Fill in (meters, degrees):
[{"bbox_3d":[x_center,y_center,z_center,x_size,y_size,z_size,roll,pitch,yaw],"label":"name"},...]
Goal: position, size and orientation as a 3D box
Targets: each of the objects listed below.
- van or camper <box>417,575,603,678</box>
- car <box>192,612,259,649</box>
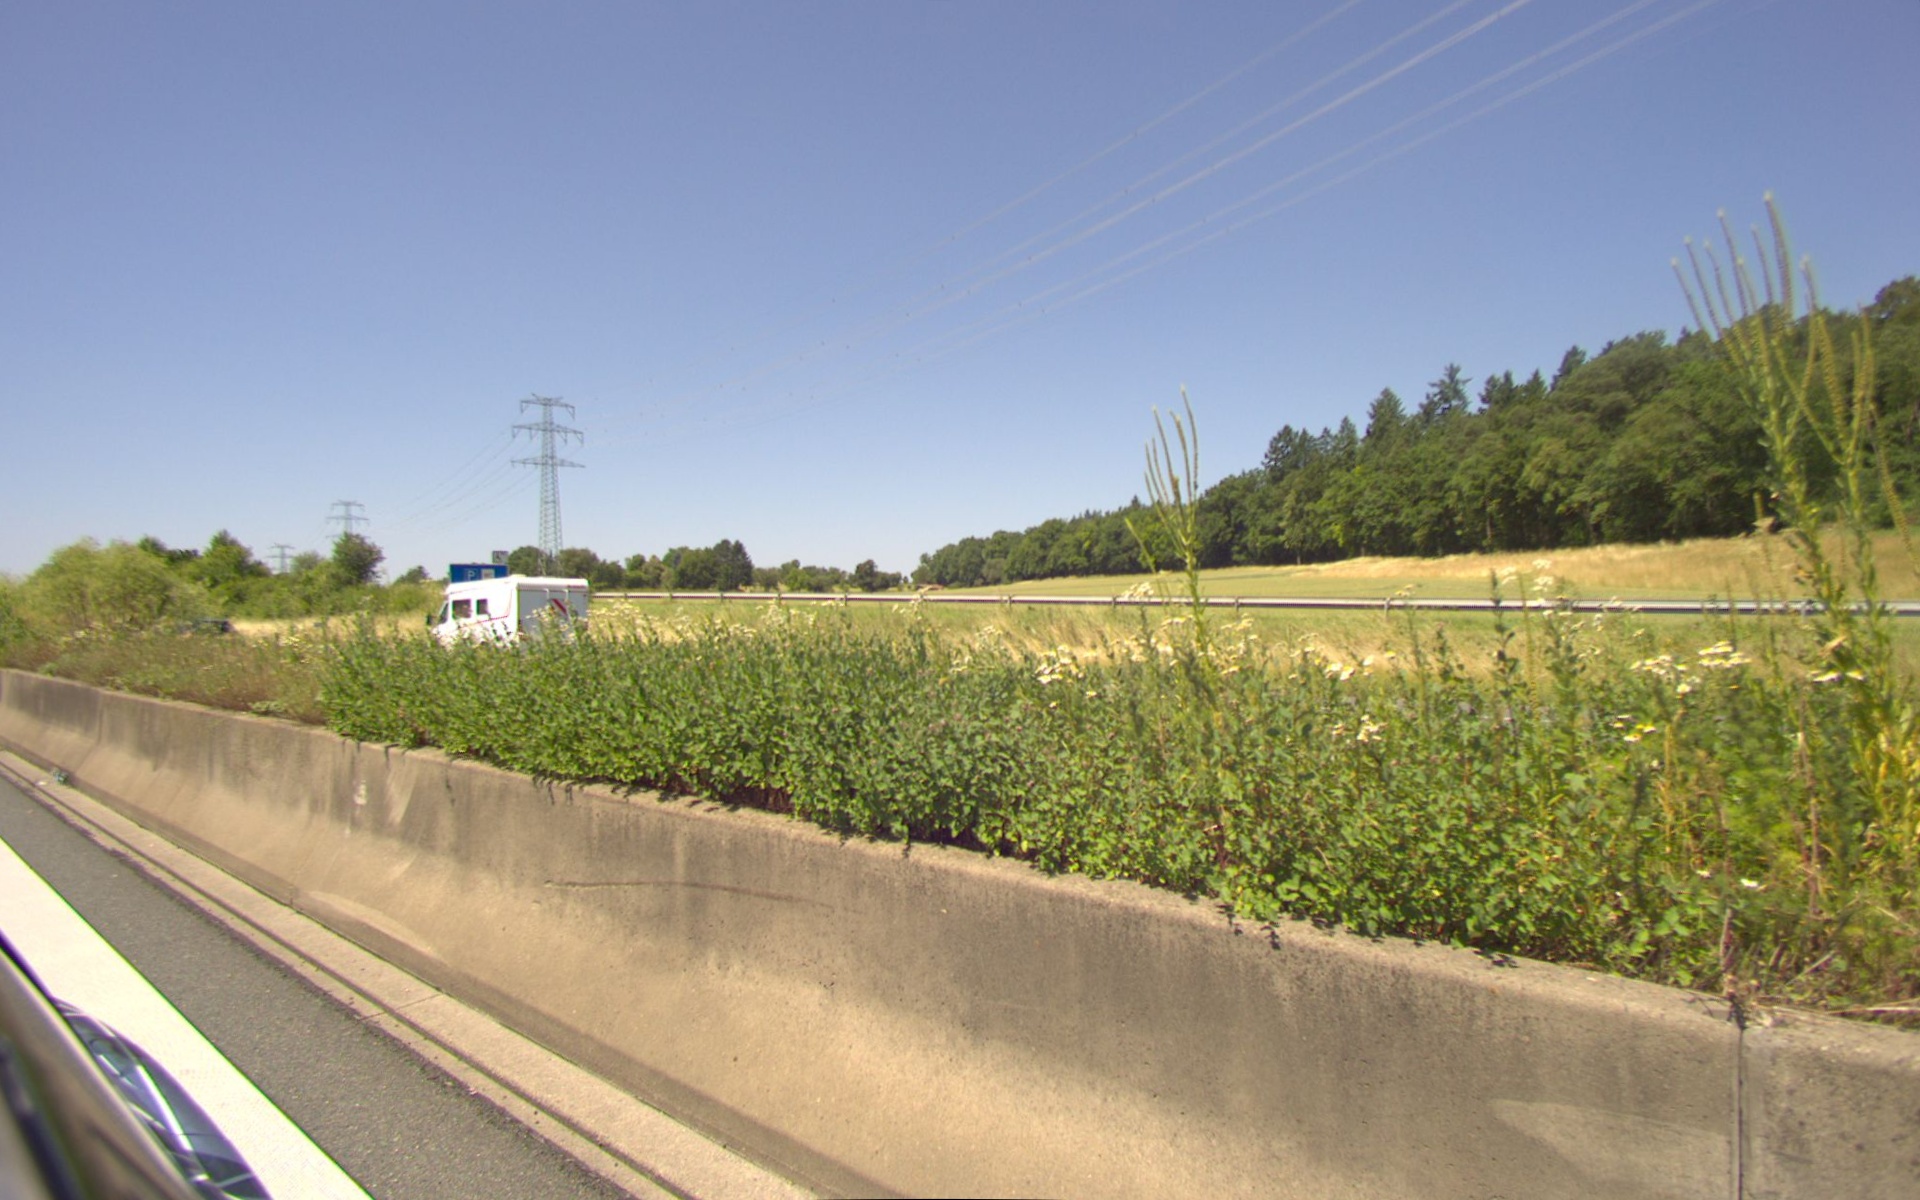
[{"bbox_3d":[-14.187,0.736,31.628,7.063,2.859,2.526,0,1,41],"label":"van or camper"},{"bbox_3d":[-27.679,1.119,38.117,3.039,1.255,1.397,0,1,41],"label":"car"}]
